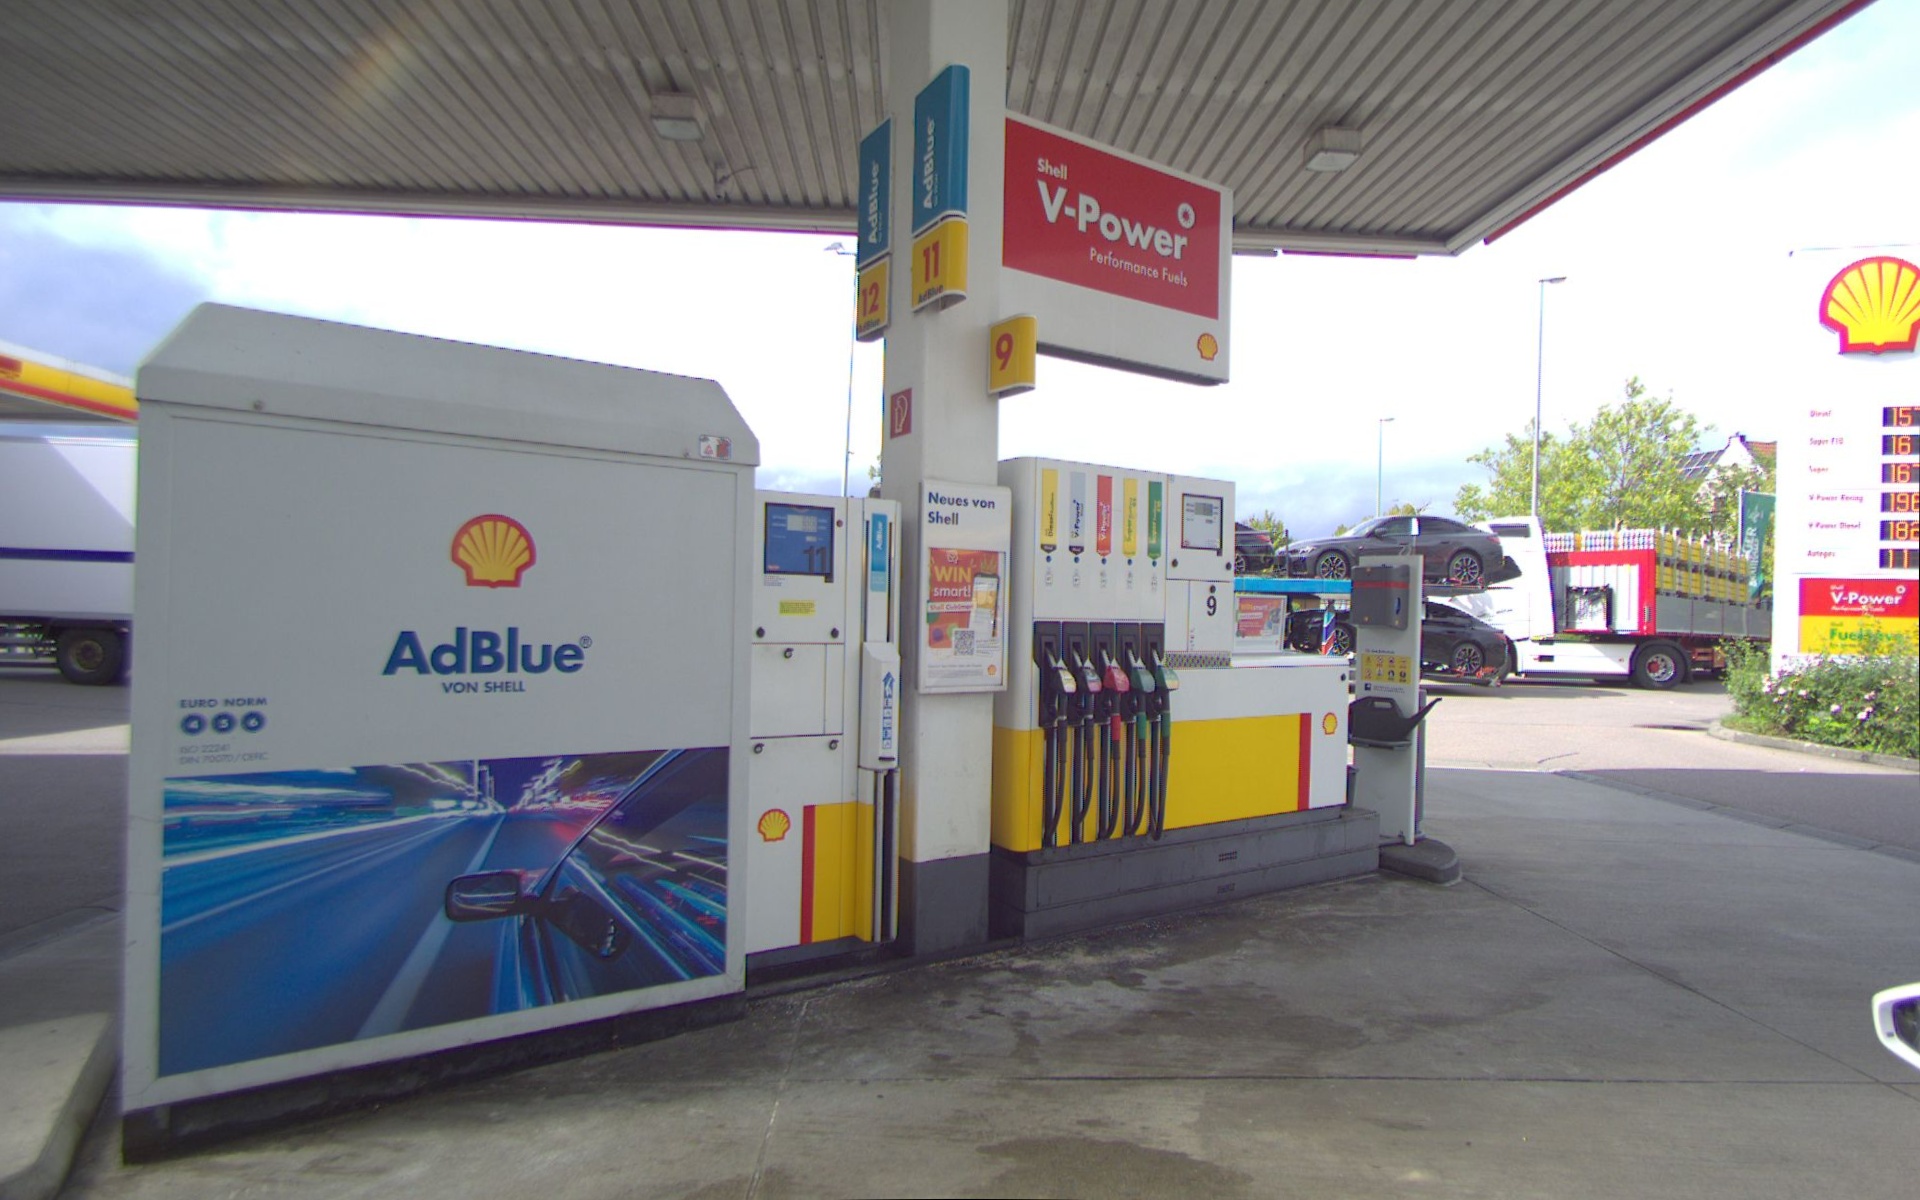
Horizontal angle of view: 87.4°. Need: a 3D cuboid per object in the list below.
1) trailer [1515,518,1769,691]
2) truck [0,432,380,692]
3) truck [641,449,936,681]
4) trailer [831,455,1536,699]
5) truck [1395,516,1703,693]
[{"bbox_3d":[19.016,0.238,27.420,12.617,3.826,2.706,2,0,-42],"label":"trailer"},{"bbox_3d":[-17.322,-0.725,17.488,12.654,4.092,2.534,2,0,-3],"label":"truck"},{"bbox_3d":[-3.471,-0.691,21.535,5.713,4.479,2.750,2,0,0],"label":"truck"},{"bbox_3d":[4.505,-0.456,21.575,14.077,4.481,2.746,2,0,0],"label":"trailer"},{"bbox_3d":[14.075,0.072,24.485,5.798,3.897,2.743,2,0,9],"label":"truck"}]
